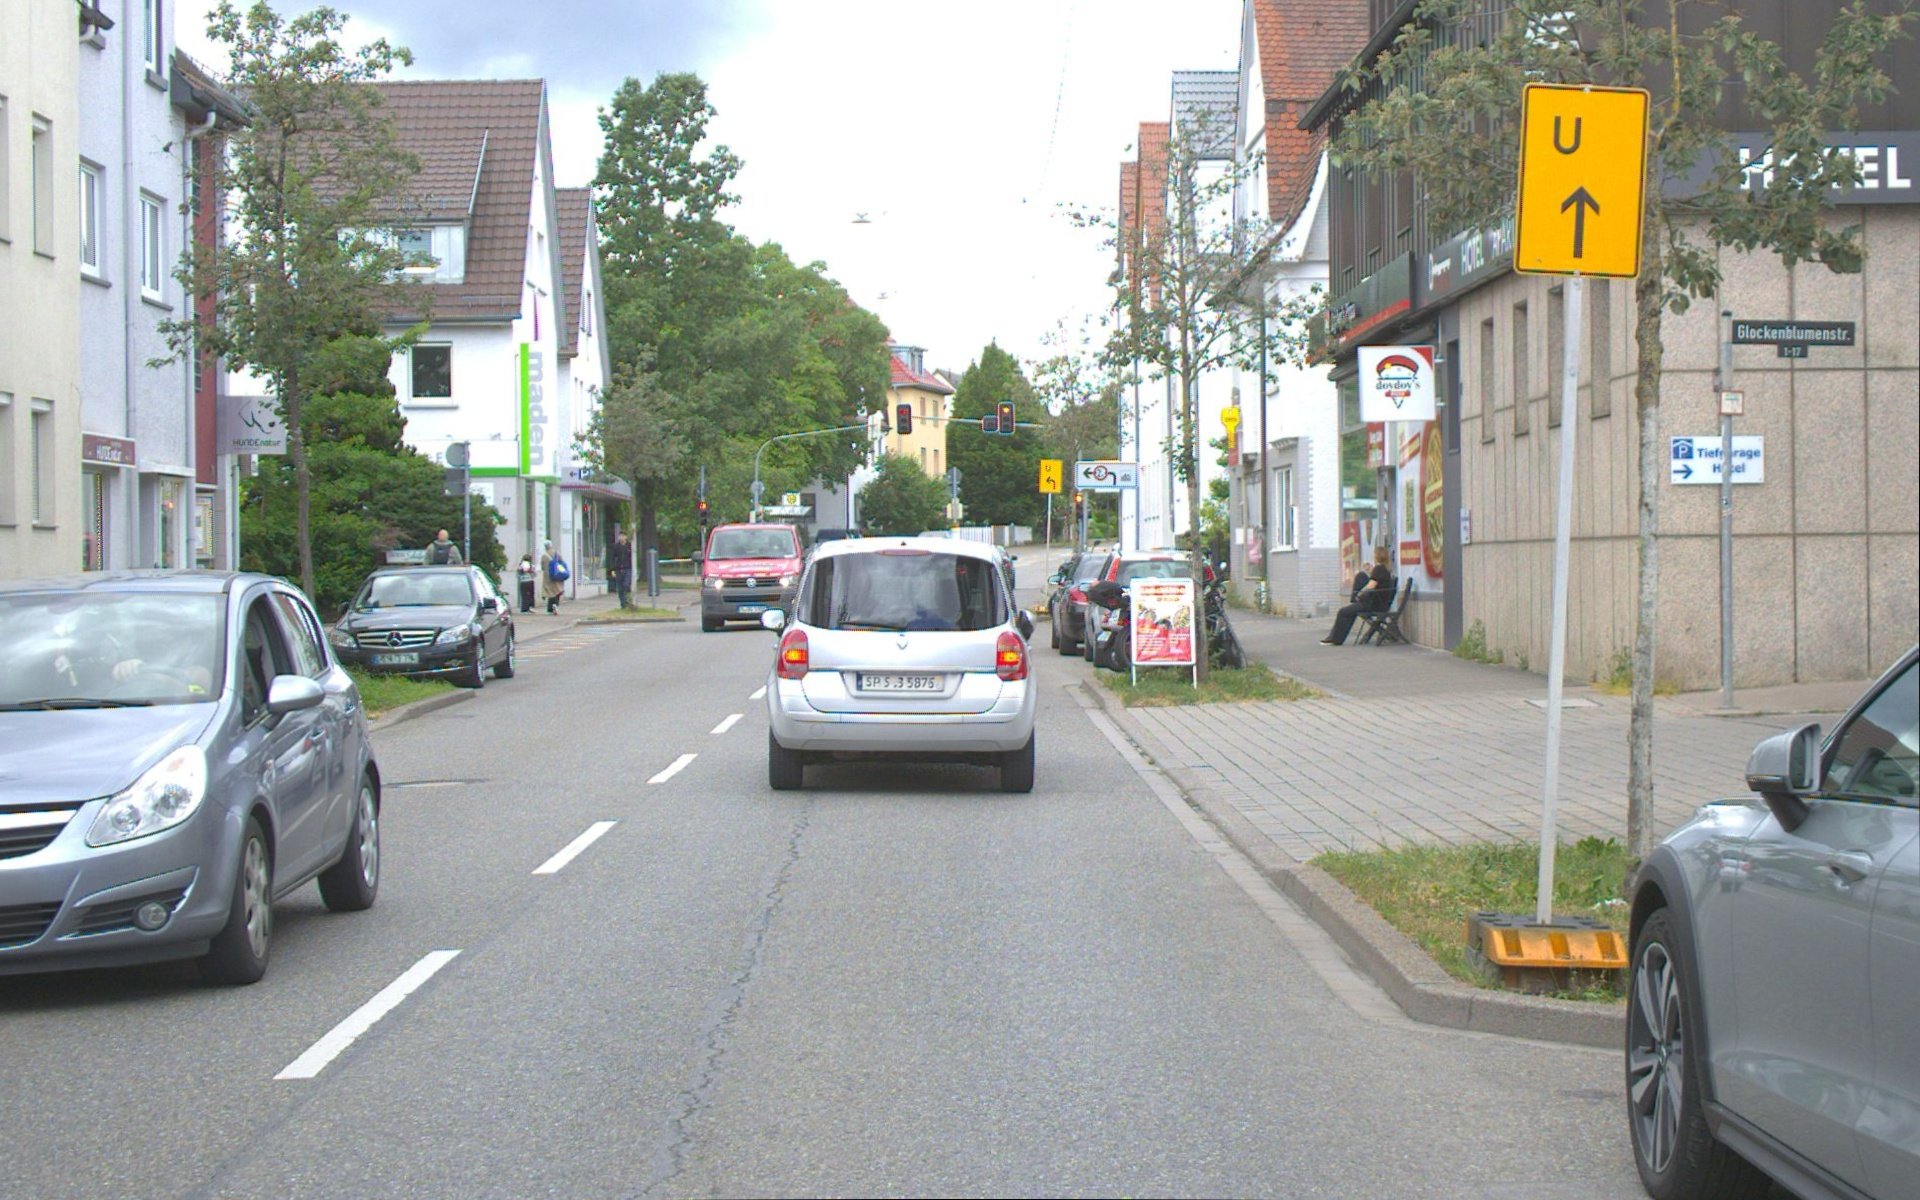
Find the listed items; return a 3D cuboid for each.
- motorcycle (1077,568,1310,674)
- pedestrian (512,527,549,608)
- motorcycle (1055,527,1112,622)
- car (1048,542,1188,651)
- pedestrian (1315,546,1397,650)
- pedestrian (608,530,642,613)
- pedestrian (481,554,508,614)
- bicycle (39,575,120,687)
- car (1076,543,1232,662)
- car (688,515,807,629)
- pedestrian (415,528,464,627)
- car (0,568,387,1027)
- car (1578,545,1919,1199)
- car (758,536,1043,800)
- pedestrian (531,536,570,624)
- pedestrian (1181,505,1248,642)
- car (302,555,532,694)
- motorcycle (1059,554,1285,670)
[{"bbox_3d":[2.689,0.231,39.401,2.728,1.179,0.700,0,1,-30],"label":"motorcycle"},{"bbox_3d":[-9.294,-0.702,74.406,0.716,1.750,0.696,1,1,0],"label":"pedestrian"},{"bbox_3d":[2.199,-0.462,60.760,0.698,1.633,2.408,1,1,9],"label":"motorcycle"},{"bbox_3d":[2.183,-0.074,48.404,1.700,1.462,4.239,1,1,-1],"label":"car"},{"bbox_3d":[5.219,-0.034,45.336,0.887,1.296,0.966,-4,1,0],"label":"pedestrian"},{"bbox_3d":[-7.645,-0.652,78.503,0.716,1.869,0.696,1,1,0],"label":"pedestrian"},{"bbox_3d":[-10.019,-0.345,73.945,0.492,1.273,0.588,1,1,0],"label":"pedestrian"},{"bbox_3d":[-9.370,0.315,36.641,0.514,1.149,1.666,0,1,-3],"label":"bicycle"},{"bbox_3d":[2.415,0.001,43.593,1.700,1.425,3.891,1,1,-1],"label":"car"},{"bbox_3d":[-3.853,-0.517,62.971,1.952,2.007,4.000,1,1,0],"label":"car"},{"bbox_3d":[-9.531,-0.414,62.975,0.762,1.785,0.890,1,1,0],"label":"pedestrian"},{"bbox_3d":[-3.289,0.634,13.090,1.682,1.442,4.021,-2,1,-3],"label":"car"},{"bbox_3d":[2.445,0.680,6.098,1.876,1.534,4.513,1,1,0],"label":"car"},{"bbox_3d":[-0.348,0.379,22.583,1.682,1.560,3.993,1,1,0],"label":"car"},{"bbox_3d":[-8.775,-0.434,73.695,0.762,1.869,0.696,1,1,0],"label":"pedestrian"},{"bbox_3d":[3.599,-0.379,48.620,0.857,1.921,0.899,1,1,0],"label":"pedestrian"},{"bbox_3d":[-6.370,0.246,40.815,1.948,1.462,4.516,-3,1,0],"label":"car"},{"bbox_3d":[2.506,0.139,40.445,2.707,1.331,0.700,0,1,-30],"label":"motorcycle"}]
